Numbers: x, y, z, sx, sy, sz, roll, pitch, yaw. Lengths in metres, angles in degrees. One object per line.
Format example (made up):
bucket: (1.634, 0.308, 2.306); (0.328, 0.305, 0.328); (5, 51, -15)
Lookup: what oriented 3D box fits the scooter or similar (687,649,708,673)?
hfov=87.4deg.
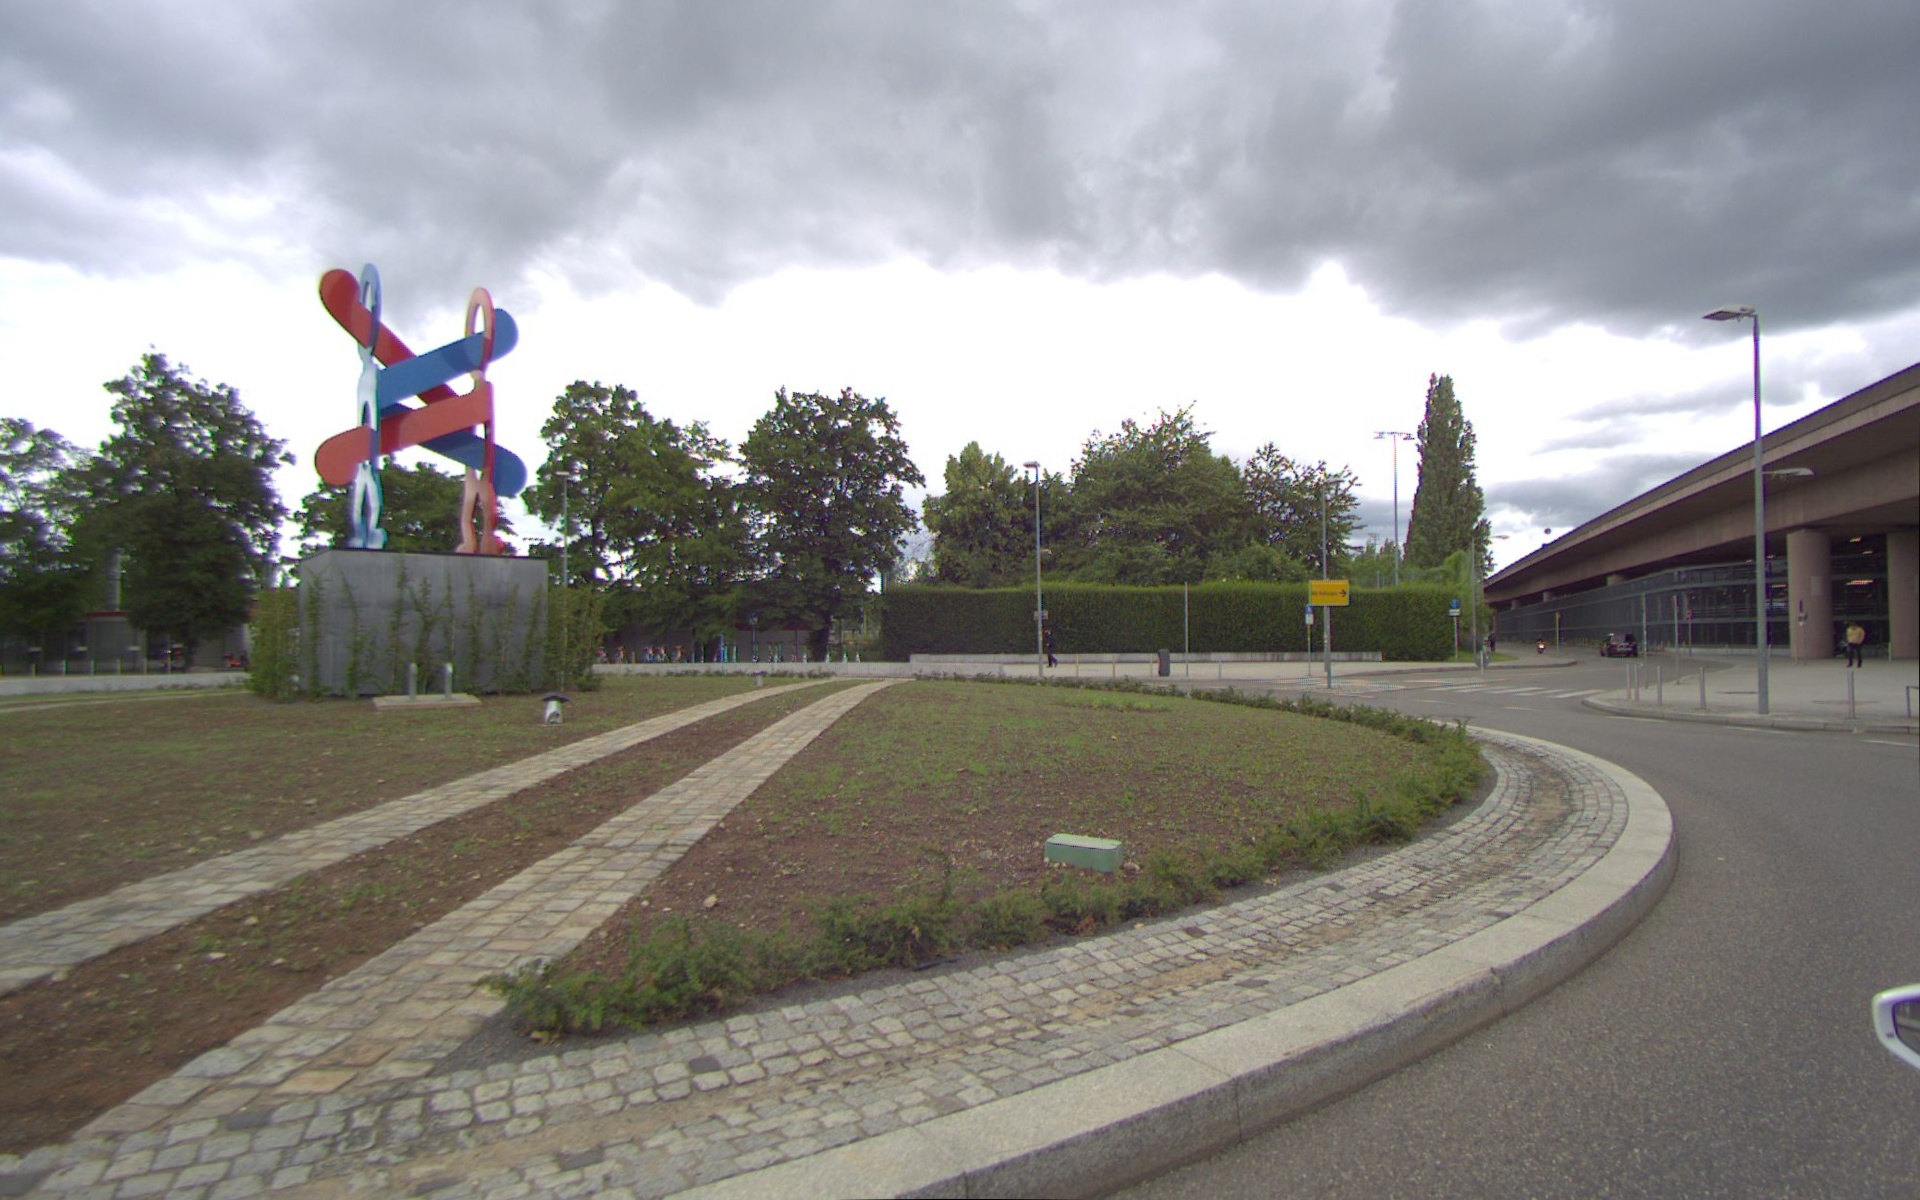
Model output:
scooter or similar: (-13.200, 3.079, 50.607); (0.628, 1.124, 1.975); (-1, -1, -3)

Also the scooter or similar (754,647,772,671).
scooter or similar: (-9.962, 2.986, 50.798); (0.628, 1.124, 1.975); (-1, -1, -3)

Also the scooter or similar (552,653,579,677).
scooter or similar: (-19.744, 3.242, 50.289); (0.628, 1.124, 1.975); (-1, -1, -3)

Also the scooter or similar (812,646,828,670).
scooter or similar: (-7.116, 2.938, 51.037); (0.628, 1.124, 1.975); (-1, -1, -3)

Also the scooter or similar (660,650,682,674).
scooter or similar: (-14.529, 3.100, 50.546); (0.628, 1.124, 1.975); (-1, -1, -3)

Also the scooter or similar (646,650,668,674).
scooter or similar: (-15.224, 3.112, 50.499); (0.628, 1.124, 1.975); (-1, -1, -3)

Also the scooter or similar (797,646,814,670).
scooter or similar: (-7.833, 2.942, 50.959); (0.628, 1.124, 1.975); (-1, -1, -3)

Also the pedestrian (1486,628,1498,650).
pedestrian: (45.160, 3.283, 85.280); (0.791, 1.804, 0.919); (-2, -1, 26)

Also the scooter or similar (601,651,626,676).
scooter or similar: (-17.348, 3.179, 50.367); (0.628, 1.124, 1.975); (-1, -1, -3)

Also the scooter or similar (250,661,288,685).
scooter or similar: (-35.262, 3.701, 51.297); (0.628, 1.124, 1.975); (-1, -1, -3)

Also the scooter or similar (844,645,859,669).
scooter or similar: (-5.503, 2.899, 51.137); (0.628, 1.124, 1.975); (-1, -1, -3)

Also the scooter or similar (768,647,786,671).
scooter or similar: (-9.268, 2.974, 50.858); (0.628, 1.124, 1.975); (-1, -1, -3)

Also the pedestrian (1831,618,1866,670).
pedestrian: (35.756, 1.755, 40.448); (0.770, 2.040, 1.038); (-2, -1, 28)

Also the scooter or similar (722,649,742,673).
scooter or similar: (-11.508, 3.048, 50.740); (0.628, 1.124, 1.975); (-1, -1, -3)

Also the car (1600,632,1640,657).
car: (48.262, 3.228, 73.485); (1.810, 1.734, 3.703); (-2, -1, 23)

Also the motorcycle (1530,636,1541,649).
motorcycle: (51.738, 3.826, 90.336); (0.735, 1.036, 1.954); (-2, -1, 26)

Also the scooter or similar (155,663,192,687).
scooter or similar: (-40.567, 3.860, 51.842); (0.535, 1.109, 1.809); (-1, -1, -3)

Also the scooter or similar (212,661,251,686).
scooter or similar: (-37.305, 3.755, 51.452); (0.628, 1.124, 1.975); (-1, -1, -3)

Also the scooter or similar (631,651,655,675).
scooter or similar: (-15.920, 3.141, 50.448); (0.628, 1.124, 1.975); (-1, -1, -3)

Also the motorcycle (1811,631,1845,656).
motorcycle: (51.694, 2.576, 59.867); (0.631, 1.474, 1.764); (-2, -1, 8)

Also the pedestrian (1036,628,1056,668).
pedestrian: (4.113, 2.289, 48.031); (0.848, 1.831, 0.794); (-2, -1, 9)

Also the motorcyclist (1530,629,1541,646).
motorcyclist: (51.704, 3.386, 90.269); (0.750, 1.438, 0.869); (-2, -1, 26)

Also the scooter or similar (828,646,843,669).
scooter or similar: (-6.330, 2.915, 51.092); (0.628, 1.124, 1.975); (-1, -1, -3)

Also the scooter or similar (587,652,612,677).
scooter or similar: (-18.051, 3.213, 50.302); (0.628, 1.124, 1.975); (-1, -1, -3)

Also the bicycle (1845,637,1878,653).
bicycle: (56.744, 2.816, 63.228); (0.448, 0.989, 1.460); (-1, -1, -40)

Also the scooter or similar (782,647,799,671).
scooter or similar: (-8.581, 2.963, 50.915); (0.628, 1.124, 1.975); (-1, -1, -3)

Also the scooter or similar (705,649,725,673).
scooter or similar: (-12.361, 3.064, 50.680); (0.628, 1.124, 1.975); (-1, -1, -3)

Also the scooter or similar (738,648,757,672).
scooter or similar: (-10.717, 3.006, 50.780); (0.628, 1.124, 1.975); (-1, -1, -3)
